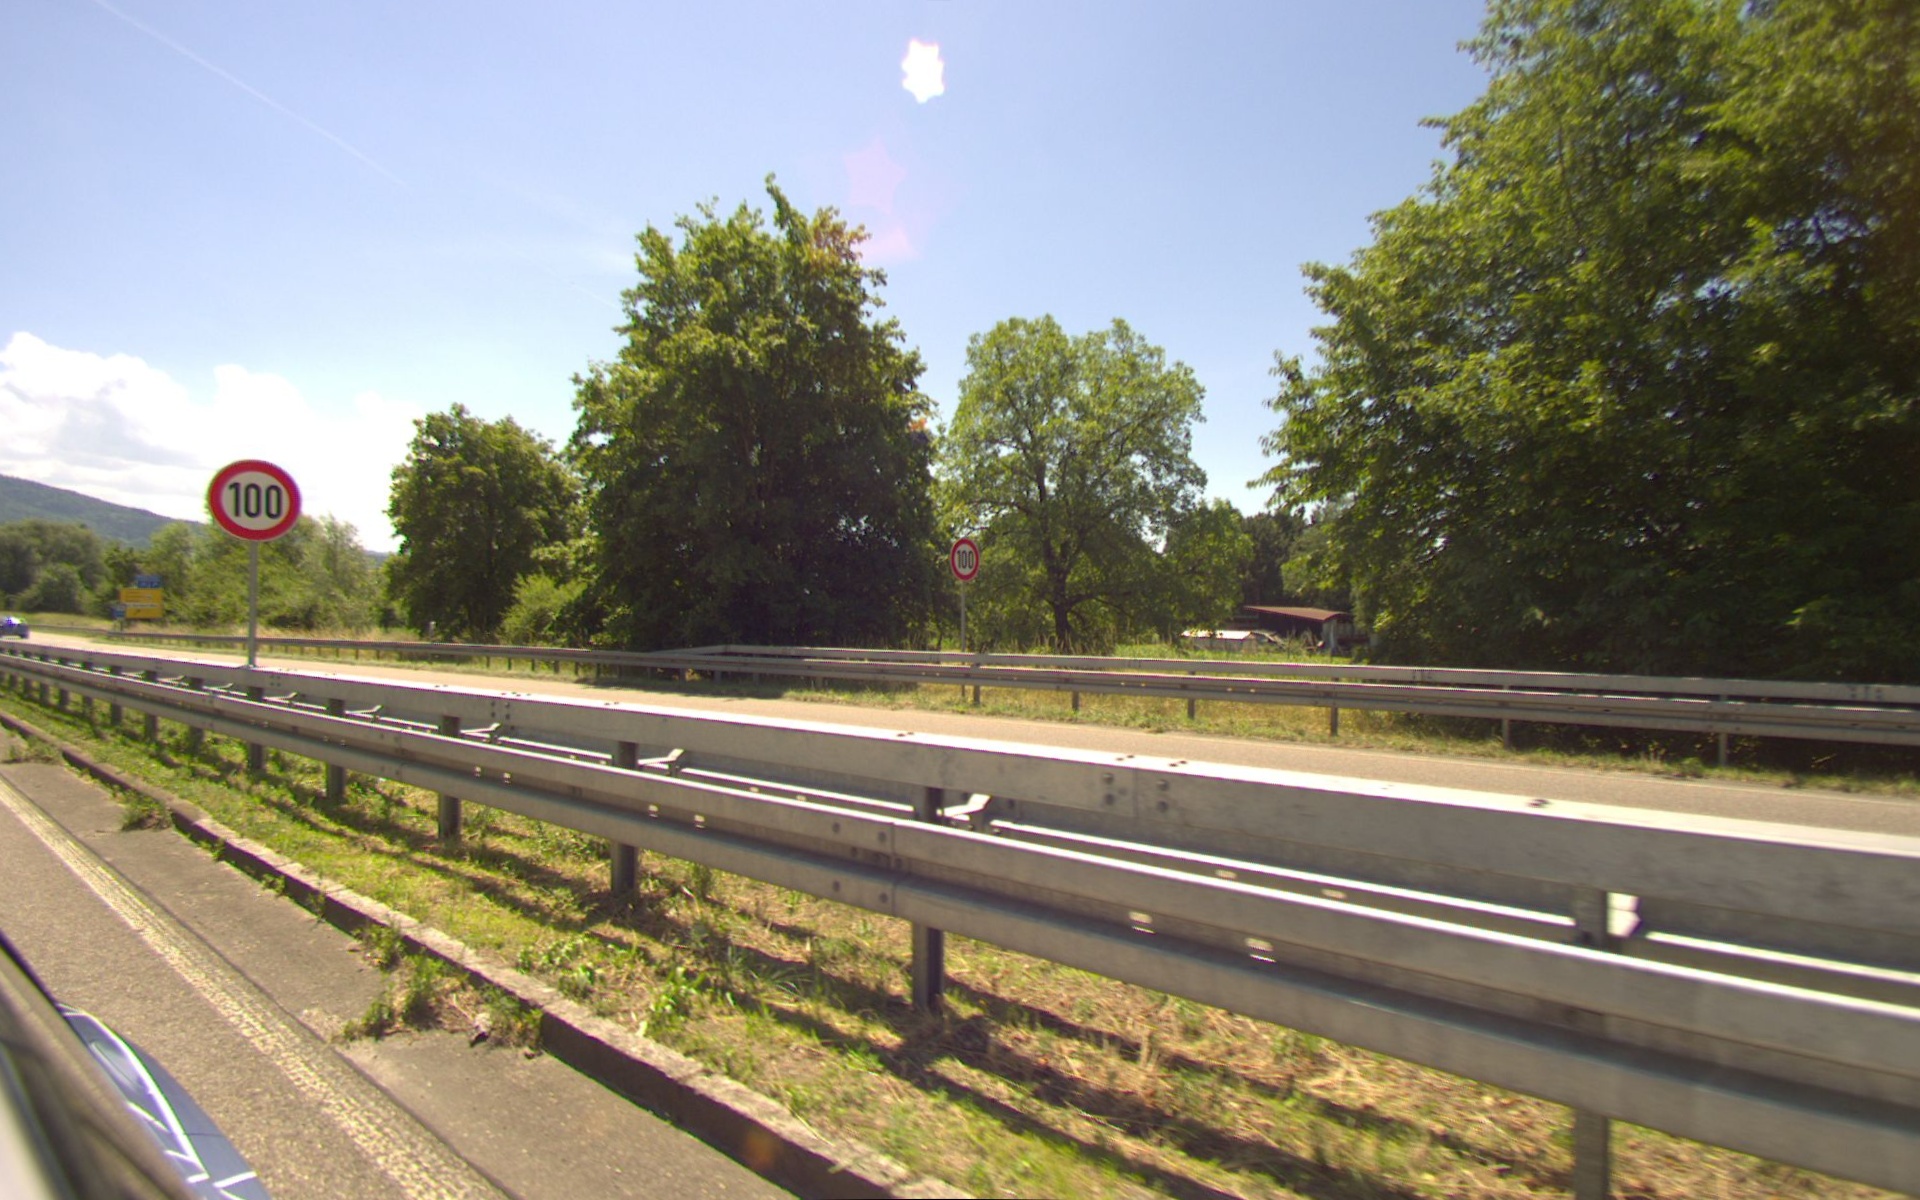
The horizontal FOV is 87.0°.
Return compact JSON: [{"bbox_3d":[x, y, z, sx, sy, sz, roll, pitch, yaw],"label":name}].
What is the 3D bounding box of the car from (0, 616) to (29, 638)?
[{"bbox_3d":[-71.102,2.036,75.544,4.926,1.555,1.793,-1,-3,41],"label":"car"}]
